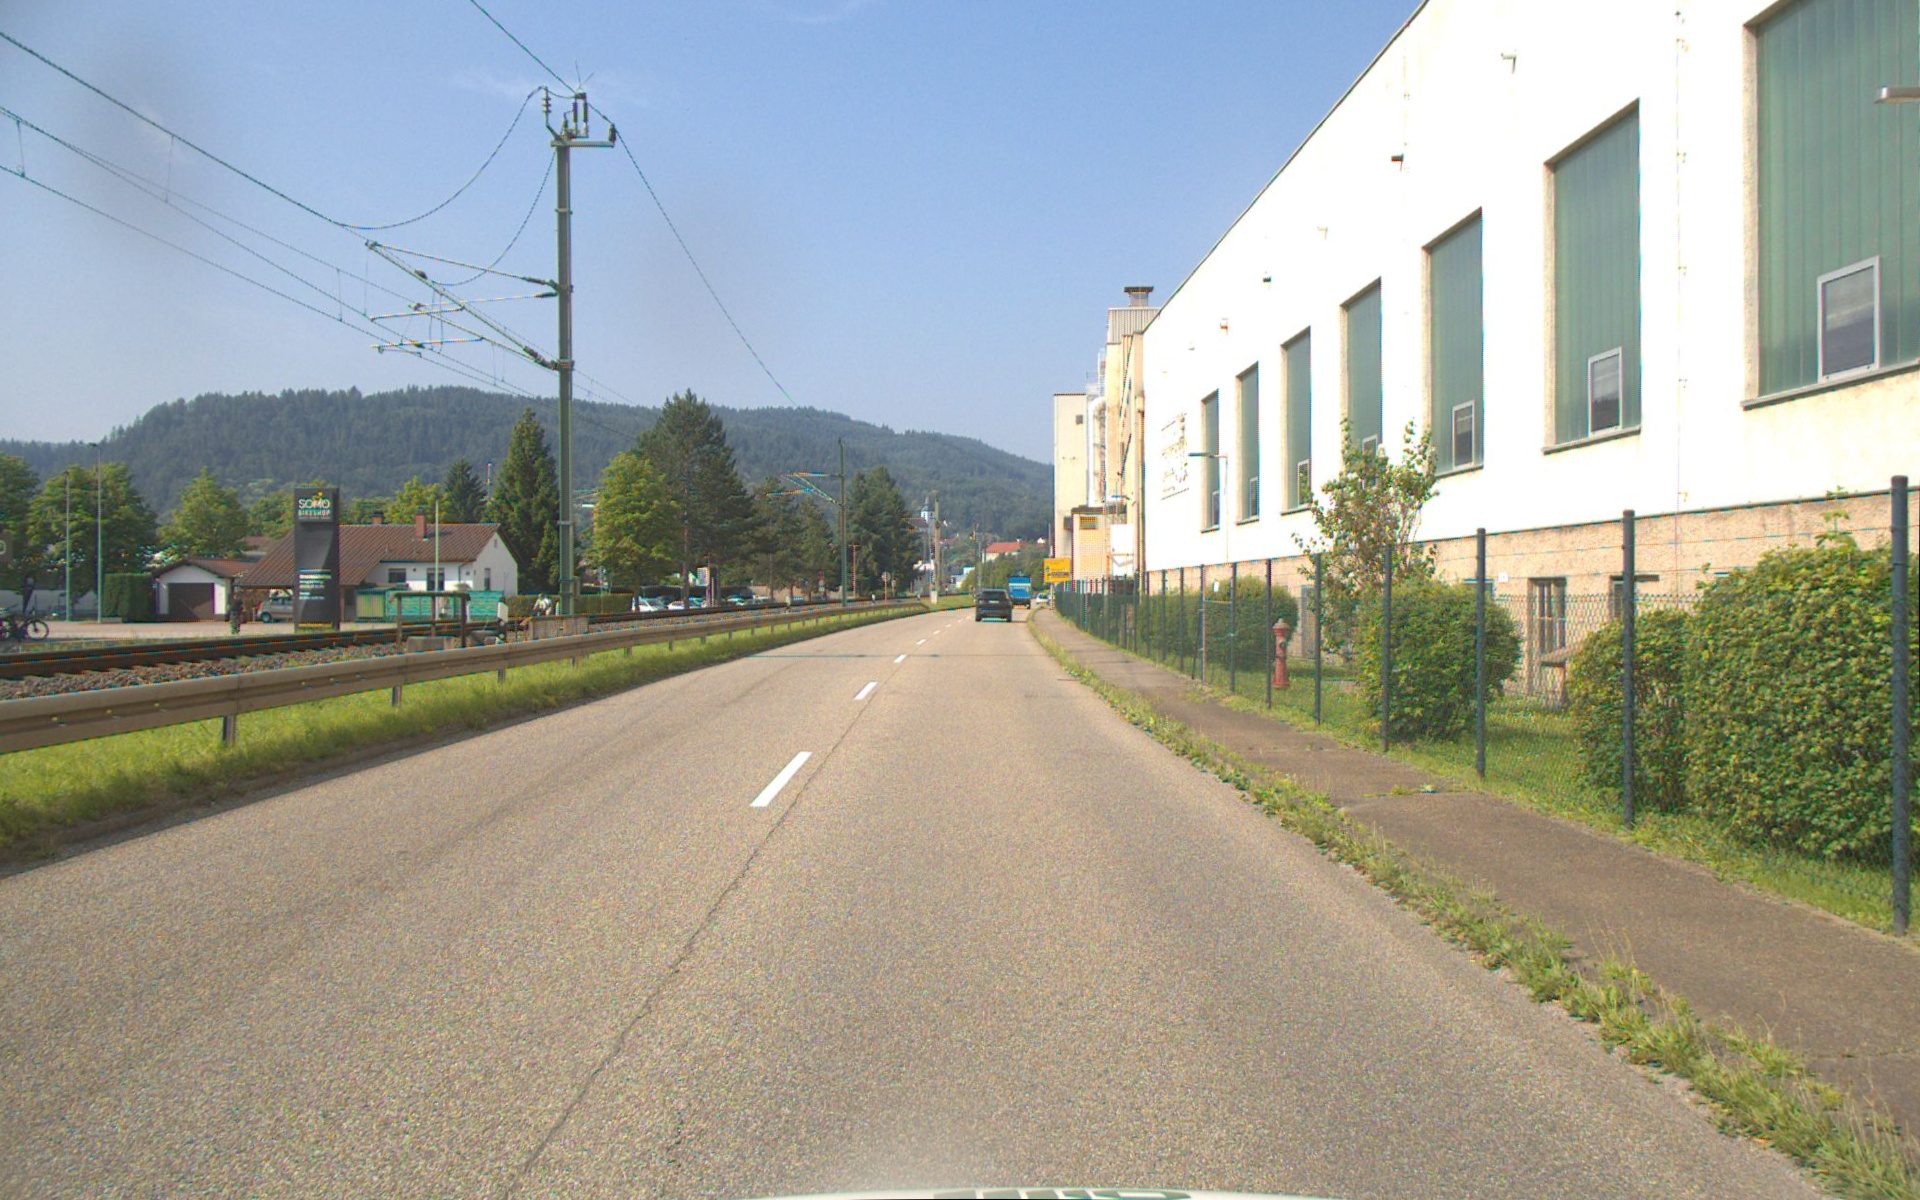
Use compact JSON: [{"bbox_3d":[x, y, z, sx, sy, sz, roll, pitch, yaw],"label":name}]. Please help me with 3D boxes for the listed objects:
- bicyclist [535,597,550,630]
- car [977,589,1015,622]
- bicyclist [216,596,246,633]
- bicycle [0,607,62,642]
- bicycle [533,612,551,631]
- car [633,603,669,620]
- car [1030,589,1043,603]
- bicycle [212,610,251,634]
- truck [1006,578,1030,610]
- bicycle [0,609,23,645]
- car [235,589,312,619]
[{"bbox_3d":[-21.338,0.702,84.528,0.521,1.675,0.832,-1,0,-2],"label":"bicyclist"},{"bbox_3d":[1.895,0.254,85.456,1.879,1.668,4.001,0,0,2],"label":"car"},{"bbox_3d":[-32.503,0.648,73.737,0.730,1.648,1.146,-1,0,3],"label":"bicyclist"},{"bbox_3d":[-31.975,0.833,56.491,2.128,1.150,0.728,-1,0,-10],"label":"bicycle"},{"bbox_3d":[-21.326,1.079,84.408,0.534,0.939,1.709,-1,0,-2],"label":"bicycle"},{"bbox_3d":[-28.792,1.083,154.217,1.672,1.469,3.797,-1,0,-40],"label":"car"},{"bbox_3d":[10.420,-0.539,224.937,1.632,1.854,3.754,0,0,5],"label":"car"},{"bbox_3d":[-32.497,0.973,73.784,0.739,1.035,1.963,-1,0,3],"label":"bicycle"},{"bbox_3d":[5.672,-0.619,160.532,2.264,3.022,5.967,0,0,2],"label":"truck"},{"bbox_3d":[-31.206,0.862,53.407,0.713,1.150,2.173,-1,0,-2],"label":"bicycle"},{"bbox_3d":[-40.338,0.252,97.220,3.756,1.680,1.713,-1,0,2],"label":"car"}]
